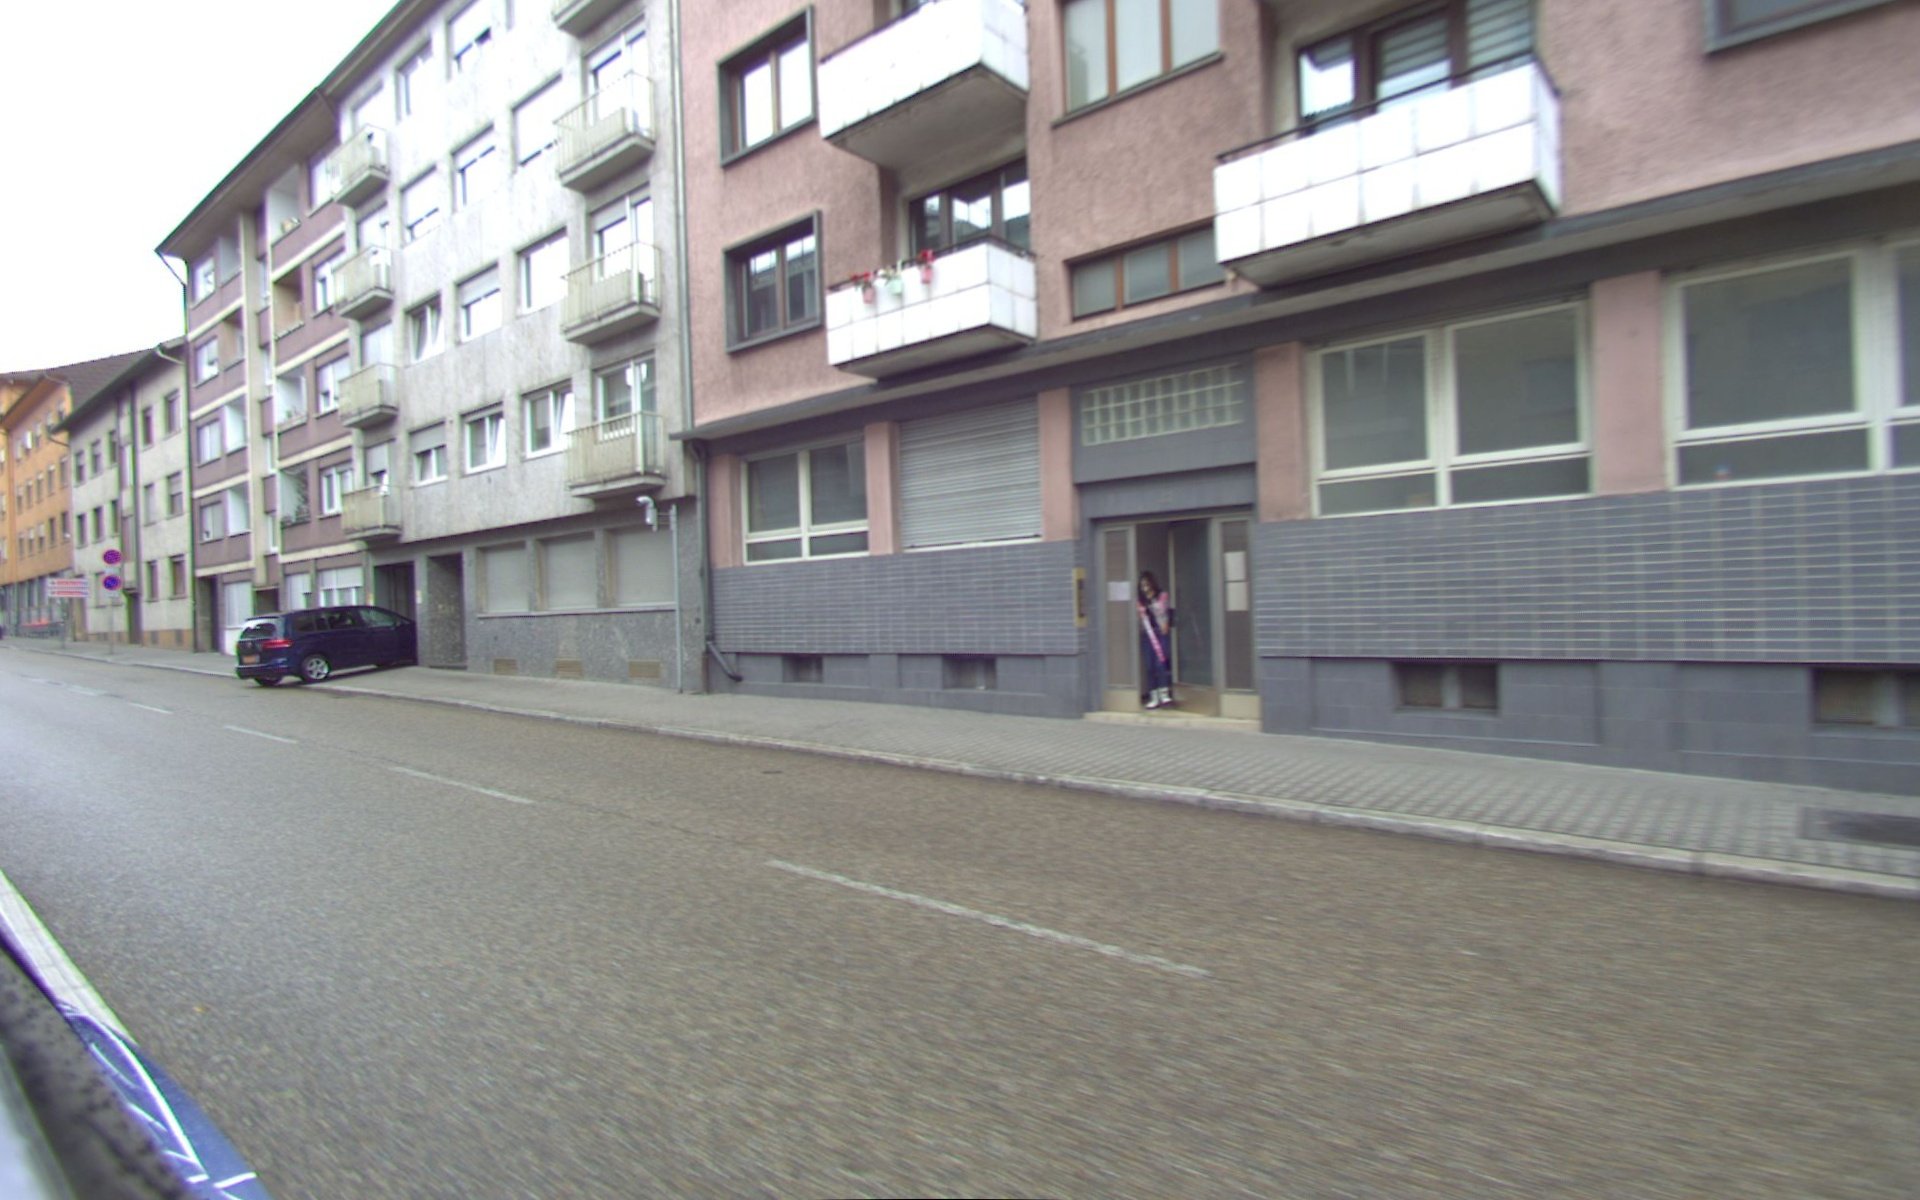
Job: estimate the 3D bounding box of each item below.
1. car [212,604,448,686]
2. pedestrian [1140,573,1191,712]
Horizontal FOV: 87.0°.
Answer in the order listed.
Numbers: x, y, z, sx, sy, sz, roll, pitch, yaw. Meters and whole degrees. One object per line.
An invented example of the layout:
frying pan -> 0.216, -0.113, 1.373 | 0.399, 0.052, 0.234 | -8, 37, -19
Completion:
car -> -14.263, 0.959, 23.210 | 1.985, 1.587, 4.279 | -1, 1, 20
pedestrian -> 2.411, 0.484, 11.886 | 0.525, 1.569, 0.448 | 2, 5, 15
